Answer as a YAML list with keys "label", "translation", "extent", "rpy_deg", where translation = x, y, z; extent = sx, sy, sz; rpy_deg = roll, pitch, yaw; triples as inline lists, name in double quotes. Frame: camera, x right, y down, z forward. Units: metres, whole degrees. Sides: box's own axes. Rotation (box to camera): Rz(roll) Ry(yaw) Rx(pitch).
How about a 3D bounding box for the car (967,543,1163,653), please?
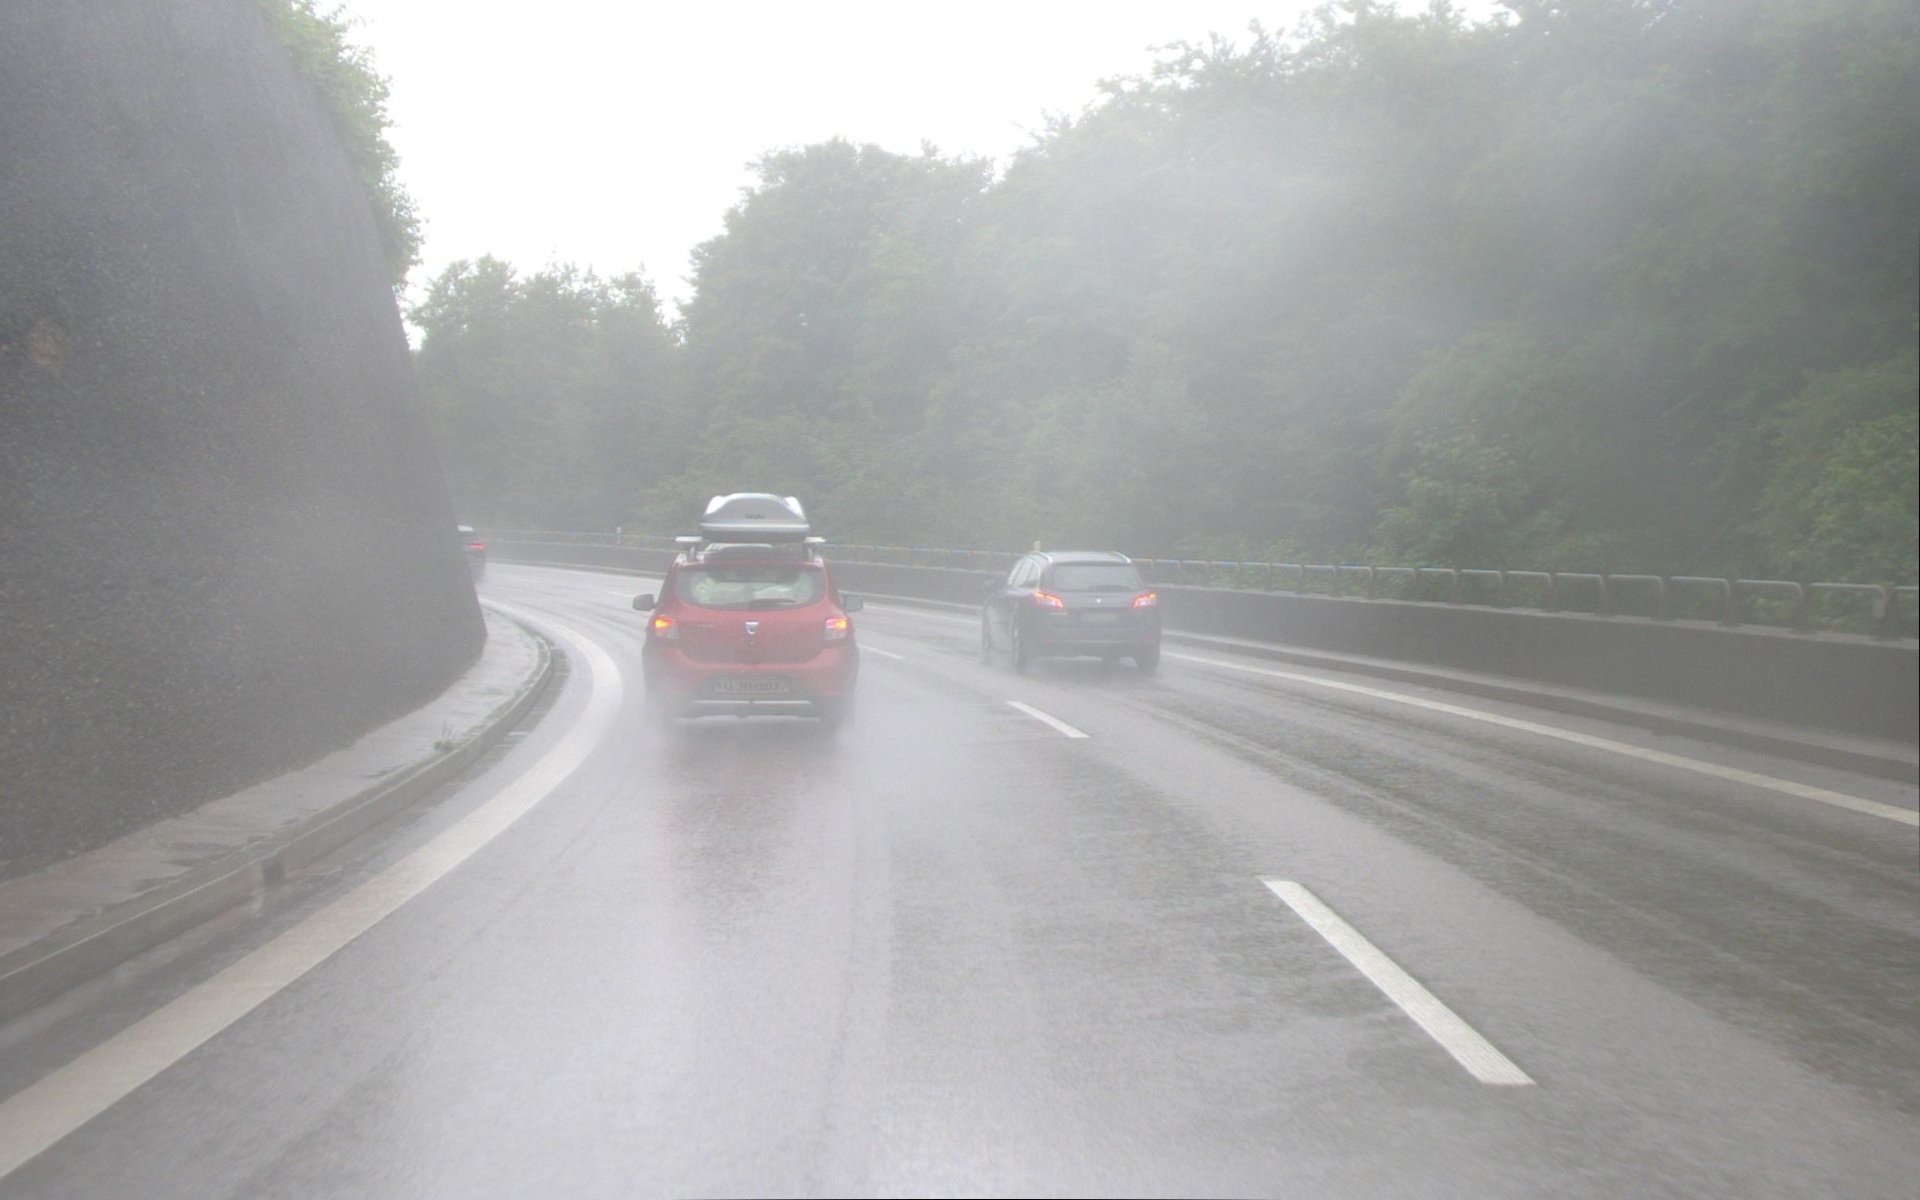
- label: "car"
  translation: [1.265, -0.047, 43.303]
  extent: [1.800, 1.303, 4.001]
  rpy_deg: [1, 1, -8]

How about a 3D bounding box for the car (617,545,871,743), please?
- label: "car"
  translation: [-1.865, 0.322, 29.317]
  extent: [1.993, 1.546, 4.001]
  rpy_deg: [1, 1, -4]
